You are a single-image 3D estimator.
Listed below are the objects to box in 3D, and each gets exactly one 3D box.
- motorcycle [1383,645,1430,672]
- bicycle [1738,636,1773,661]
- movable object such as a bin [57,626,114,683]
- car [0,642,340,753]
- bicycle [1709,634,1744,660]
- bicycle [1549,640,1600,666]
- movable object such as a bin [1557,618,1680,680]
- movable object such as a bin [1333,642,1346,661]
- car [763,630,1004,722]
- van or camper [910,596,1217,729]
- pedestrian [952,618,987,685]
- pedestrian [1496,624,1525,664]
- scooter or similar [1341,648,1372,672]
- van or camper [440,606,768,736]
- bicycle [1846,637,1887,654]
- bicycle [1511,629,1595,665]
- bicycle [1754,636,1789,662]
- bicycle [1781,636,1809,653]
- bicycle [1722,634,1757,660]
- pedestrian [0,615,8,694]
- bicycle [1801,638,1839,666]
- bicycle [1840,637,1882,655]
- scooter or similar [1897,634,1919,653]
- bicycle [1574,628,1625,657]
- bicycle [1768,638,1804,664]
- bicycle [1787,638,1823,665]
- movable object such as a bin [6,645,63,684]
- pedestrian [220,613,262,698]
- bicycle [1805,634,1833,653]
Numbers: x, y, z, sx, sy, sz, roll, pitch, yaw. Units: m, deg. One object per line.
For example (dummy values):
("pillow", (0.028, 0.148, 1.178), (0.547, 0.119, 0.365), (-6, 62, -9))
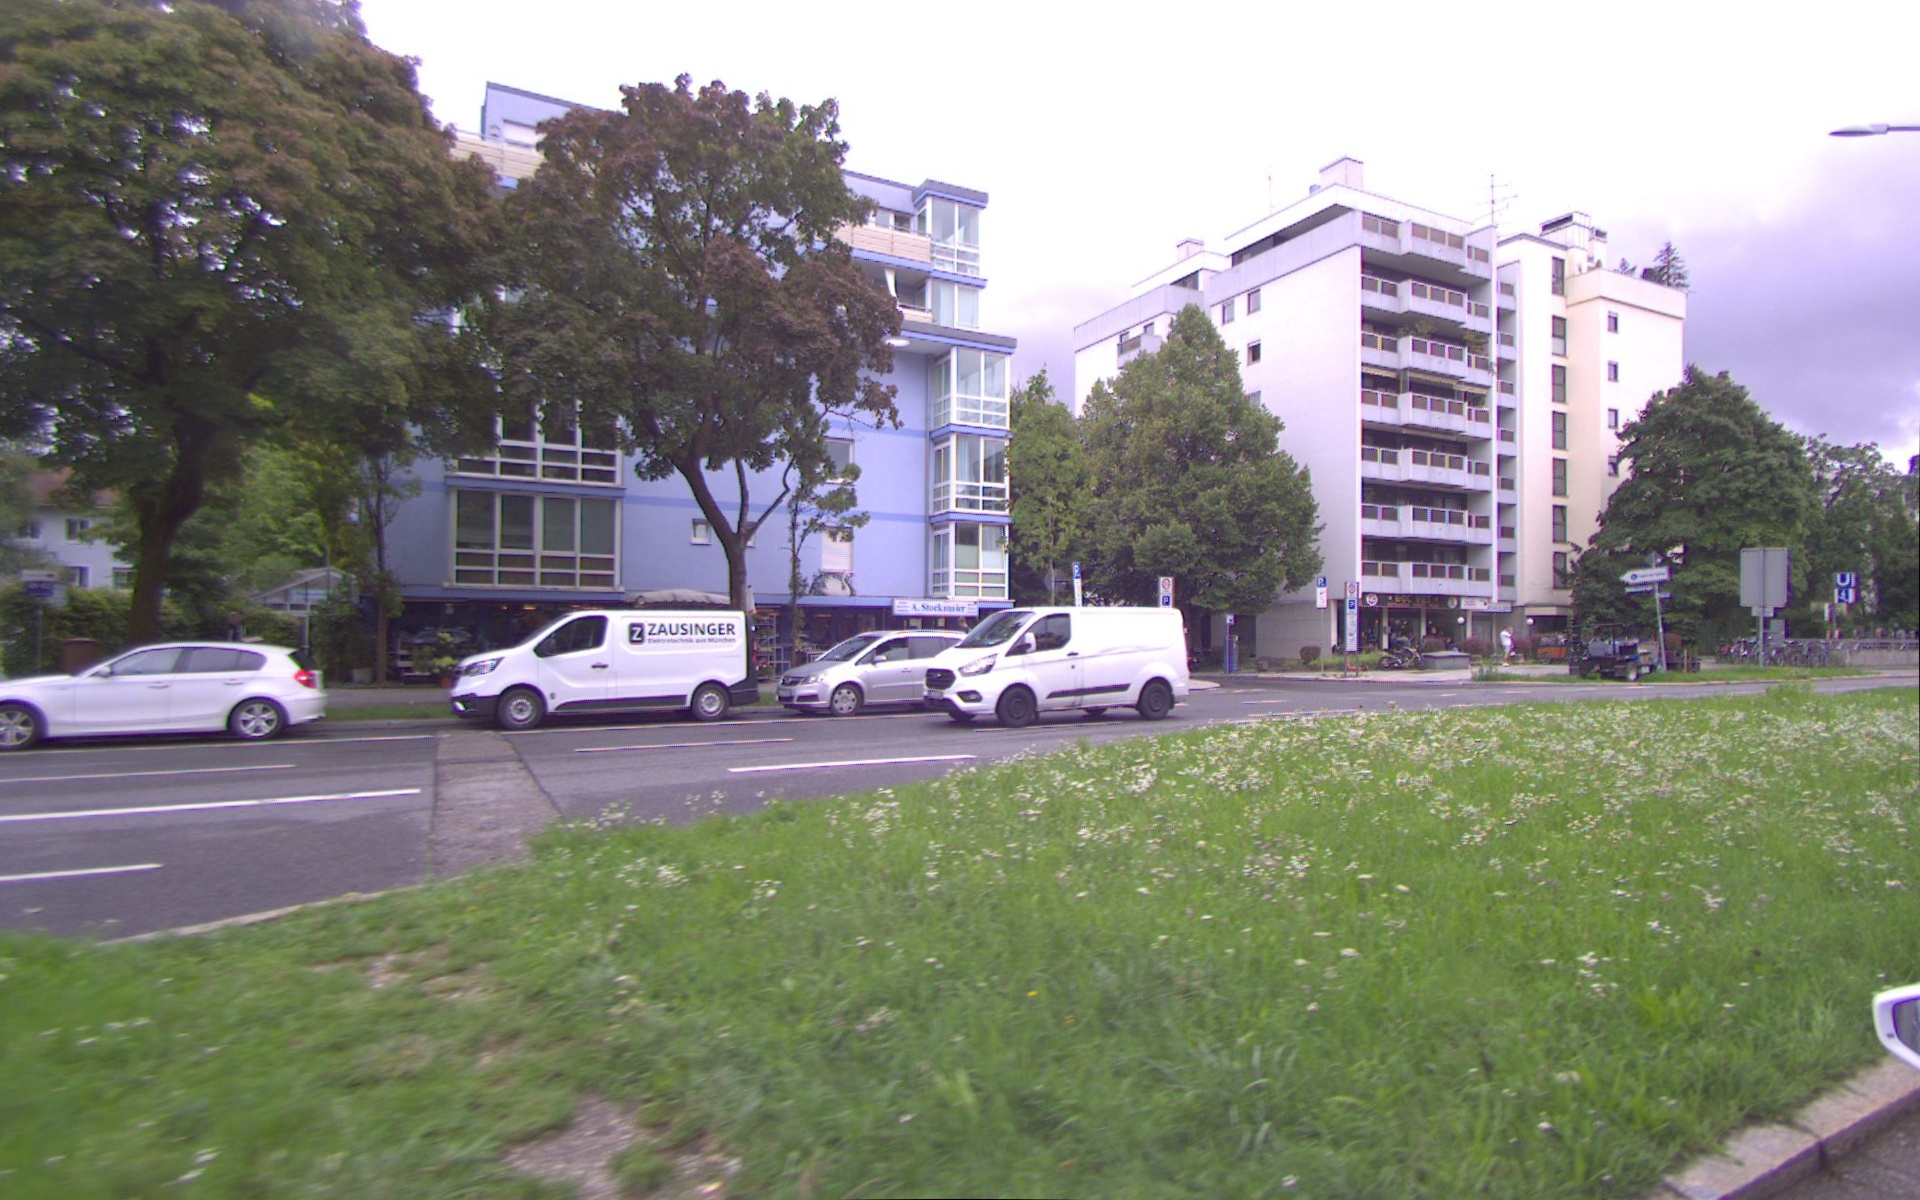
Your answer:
("motorcycle", (18.287, 2.381, 41.139), (1.749, 1.101, 0.419), (0, -2, -3))
("bicycle", (35.267, 2.140, 44.512), (1.929, 1.044, 0.406), (1, 3, -27))
("movable object such as a bin", (-18.467, 1.146, 21.228), (0.758, 1.135, 0.970), (2, 0, -34))
("car", (-11.483, 1.316, 14.454), (4.284, 1.413, 1.668), (1, -2, -31))
("bicycle", (34.647, 2.109, 45.419), (1.929, 1.112, 0.406), (1, 3, -27))
("bicycle", (27.184, 2.321, 44.452), (0.552, 1.118, 1.943), (1, -2, -25))
("movable object such as a bin", (22.429, 1.623, 34.208), (3.960, 1.978, 2.179), (1, -2, -35))
("movable object such as a bin", (19.133, 2.595, 50.650), (0.531, 0.978, 0.370), (1, -2, -36))
("car", (-1.426, 1.428, 19.907), (4.621, 1.637, 1.687), (2, -3, -37))
("van or camper", (1.862, 1.042, 17.549), (5.135, 2.042, 2.007), (1, -2, -29))
("pedestrian", (0.267, 1.418, 27.804), (0.771, 1.829, 0.639), (1, -2, -31))
("pedestrian", (24.188, 1.936, 44.148), (1.119, 1.731, 0.664), (1, -2, -35))
("scooter or similar", (16.446, 2.501, 41.686), (1.134, 0.971, 0.441), (-2, -2, 40))
("van or camper", (-6.095, 1.160, 17.437), (5.148, 1.993, 1.797), (1, -2, -29))
("bicycle", (53.211, 2.663, 58.958), (0.431, 1.020, 1.755), (1, -2, -28))
("bicycle", (26.305, 2.064, 44.629), (0.777, 1.300, 3.316), (1, 2, -25))
("bicycle", (35.549, 2.150, 44.002), (1.929, 1.087, 0.406), (1, 3, -27))
("bicycle", (49.992, 2.668, 60.146), (2.007, 1.020, 0.576), (1, -2, -28))
("bicycle", (34.892, 2.106, 44.965), (1.929, 1.118, 0.406), (1, 3, -27))
("pedestrian", (-20.298, 1.127, 20.614), (0.755, 1.623, 0.972), (-1, -2, 36))
("bicycle", (36.391, 2.197, 42.478), (2.057, 1.104, 0.406), (1, 3, -27))
("bicycle", (52.042, 2.627, 58.007), (0.431, 1.020, 1.755), (1, -2, -28))
("scooter or similar", (58.389, 2.680, 61.801), (1.268, 1.141, 0.435), (0, -2, -16))
("bicycle", (28.691, 1.900, 45.117), (0.482, 1.118, 1.942), (1, 3, -25))
("bicycle", (35.758, 2.192, 43.490), (1.929, 1.054, 0.406), (1, 3, -27))
("bicycle", (36.108, 2.183, 42.920), (1.929, 1.092, 0.406), (1, 3, -27))
("movable object such as a bin", (-34.161, 2.356, 37.120), (1.319, 1.338, 1.377), (2, 0, -34))
("pedestrian", (-14.475, 1.110, 20.230), (0.626, 1.667, 0.535), (1, -2, -32))
("bicycle", (50.655, 2.572, 59.222), (2.007, 1.113, 0.576), (1, -2, -28))
